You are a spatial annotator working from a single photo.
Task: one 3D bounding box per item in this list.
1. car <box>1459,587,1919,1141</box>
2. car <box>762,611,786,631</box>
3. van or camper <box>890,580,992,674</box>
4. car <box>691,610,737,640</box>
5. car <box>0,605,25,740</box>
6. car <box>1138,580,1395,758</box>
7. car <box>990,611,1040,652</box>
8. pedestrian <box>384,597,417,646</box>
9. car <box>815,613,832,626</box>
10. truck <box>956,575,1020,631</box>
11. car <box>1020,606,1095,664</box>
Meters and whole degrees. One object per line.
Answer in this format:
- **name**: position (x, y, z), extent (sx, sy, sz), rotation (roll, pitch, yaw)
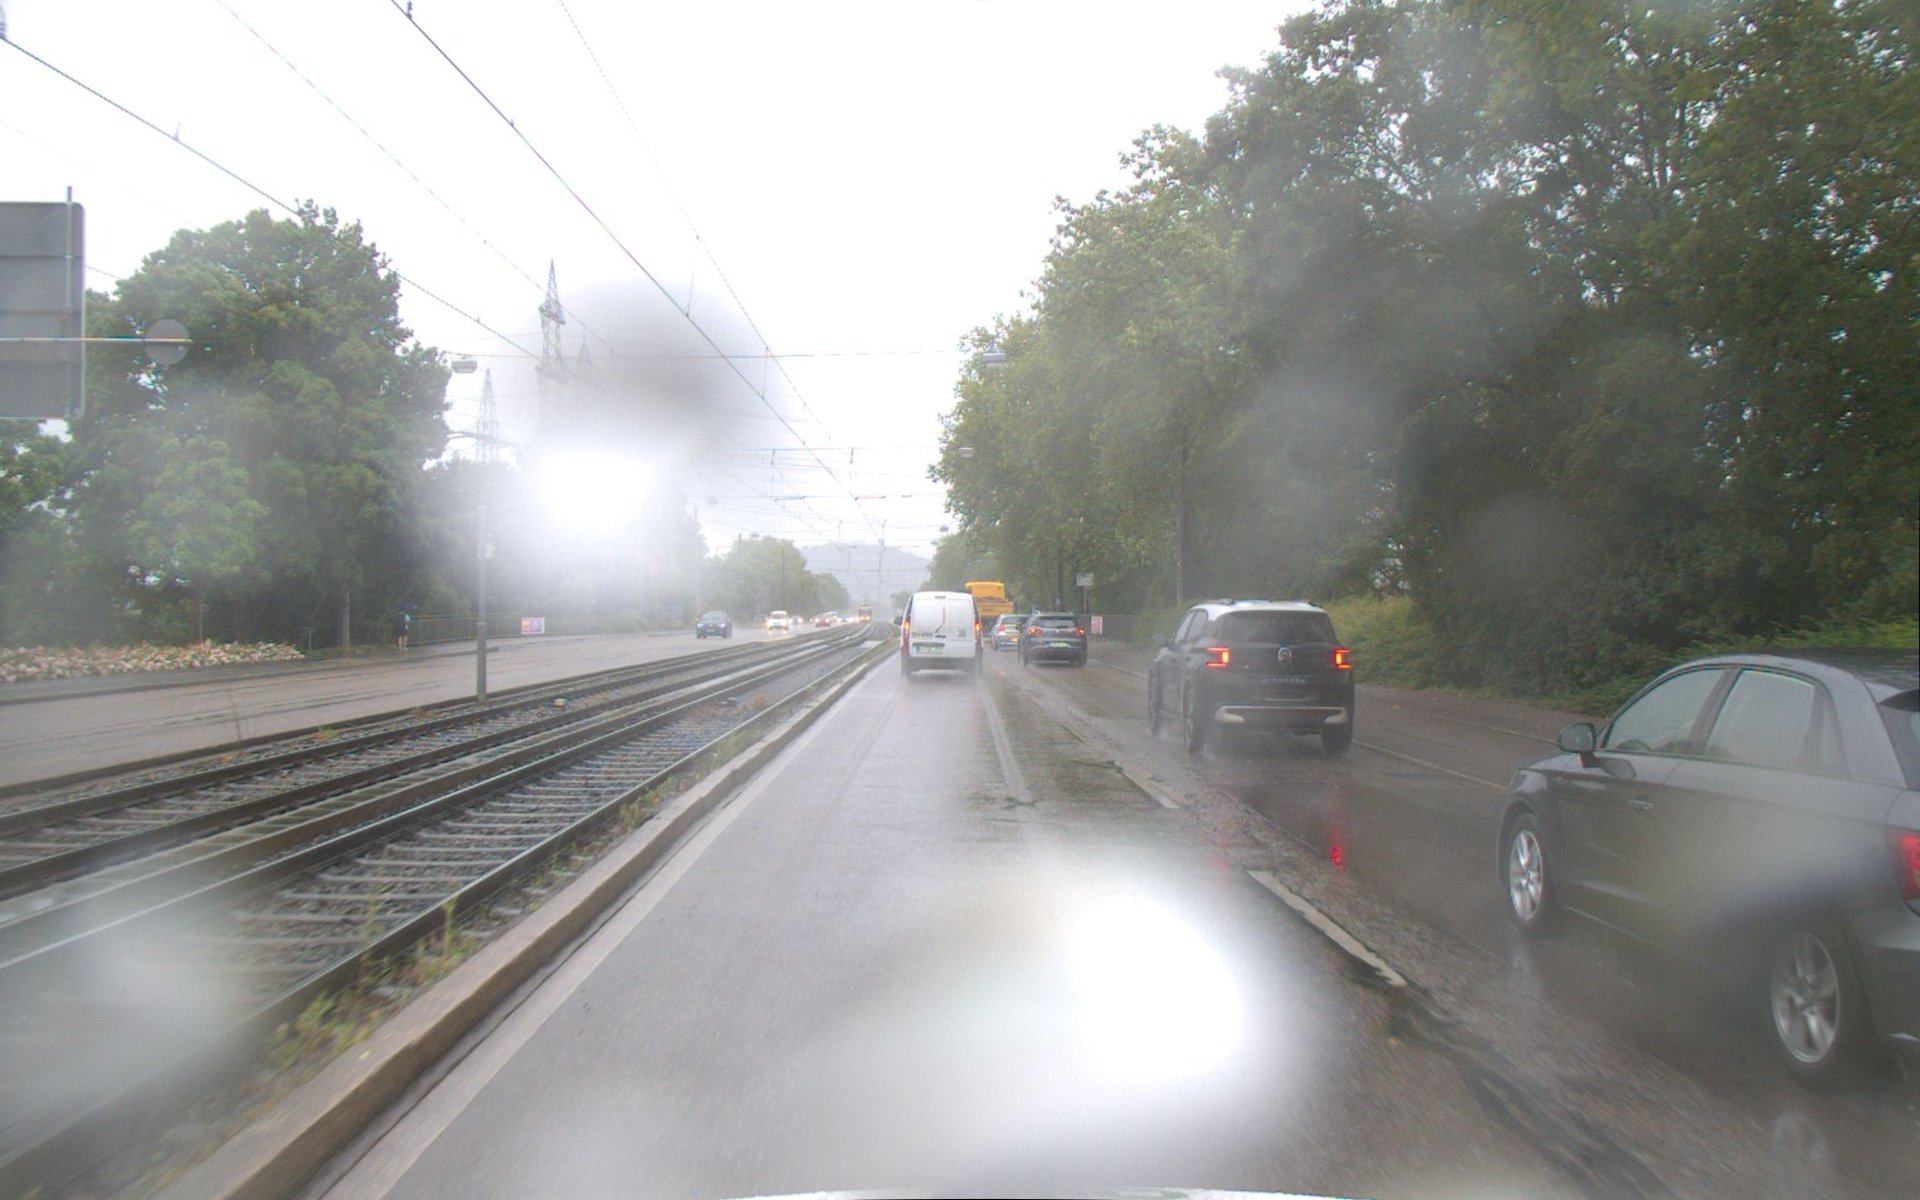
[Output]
- **car**: position (3.636, 0.759, 6.564), extent (1.928, 1.555, 3.989), rotation (1, 1, -3)
- **car**: position (-17.790, 1.991, 158.232), extent (1.953, 1.847, 4.657), rotation (0, 0, -2)
- **van or camper**: position (-0.476, 0.527, 35.675), extent (1.954, 1.815, 3.998), rotation (2, 1, -4)
- **car**: position (-14.227, 1.444, 95.919), extent (1.952, 1.646, 4.253), rotation (0, 0, 0)
- **car**: position (-13.431, 0.977, 19.614), extent (1.953, 1.751, 4.881), rotation (-1, 0, -1)
- **car**: position (3.352, 0.667, 19.033), extent (1.861, 1.746, 4.723), rotation (1, 1, -3)
- **car**: position (2.121, 1.227, 64.843), extent (1.781, 1.438, 3.778), rotation (1, 1, -1)
- **pedestrian**: position (-21.083, 0.805, 62.323), extent (0.834, 1.790, 1.120), rotation (-1, 0, -1)
- **car**: position (-15.752, 2.231, 191.168), extent (1.623, 1.512, 4.013), rotation (0, 0, 0)
- **truck**: position (1.412, 0.129, 86.860), extent (3.050, 2.821, 6.327), rotation (1, 0, -1)
- **car**: position (2.620, 0.928, 45.321), extent (1.781, 1.438, 3.778), rotation (1, 1, -1)
